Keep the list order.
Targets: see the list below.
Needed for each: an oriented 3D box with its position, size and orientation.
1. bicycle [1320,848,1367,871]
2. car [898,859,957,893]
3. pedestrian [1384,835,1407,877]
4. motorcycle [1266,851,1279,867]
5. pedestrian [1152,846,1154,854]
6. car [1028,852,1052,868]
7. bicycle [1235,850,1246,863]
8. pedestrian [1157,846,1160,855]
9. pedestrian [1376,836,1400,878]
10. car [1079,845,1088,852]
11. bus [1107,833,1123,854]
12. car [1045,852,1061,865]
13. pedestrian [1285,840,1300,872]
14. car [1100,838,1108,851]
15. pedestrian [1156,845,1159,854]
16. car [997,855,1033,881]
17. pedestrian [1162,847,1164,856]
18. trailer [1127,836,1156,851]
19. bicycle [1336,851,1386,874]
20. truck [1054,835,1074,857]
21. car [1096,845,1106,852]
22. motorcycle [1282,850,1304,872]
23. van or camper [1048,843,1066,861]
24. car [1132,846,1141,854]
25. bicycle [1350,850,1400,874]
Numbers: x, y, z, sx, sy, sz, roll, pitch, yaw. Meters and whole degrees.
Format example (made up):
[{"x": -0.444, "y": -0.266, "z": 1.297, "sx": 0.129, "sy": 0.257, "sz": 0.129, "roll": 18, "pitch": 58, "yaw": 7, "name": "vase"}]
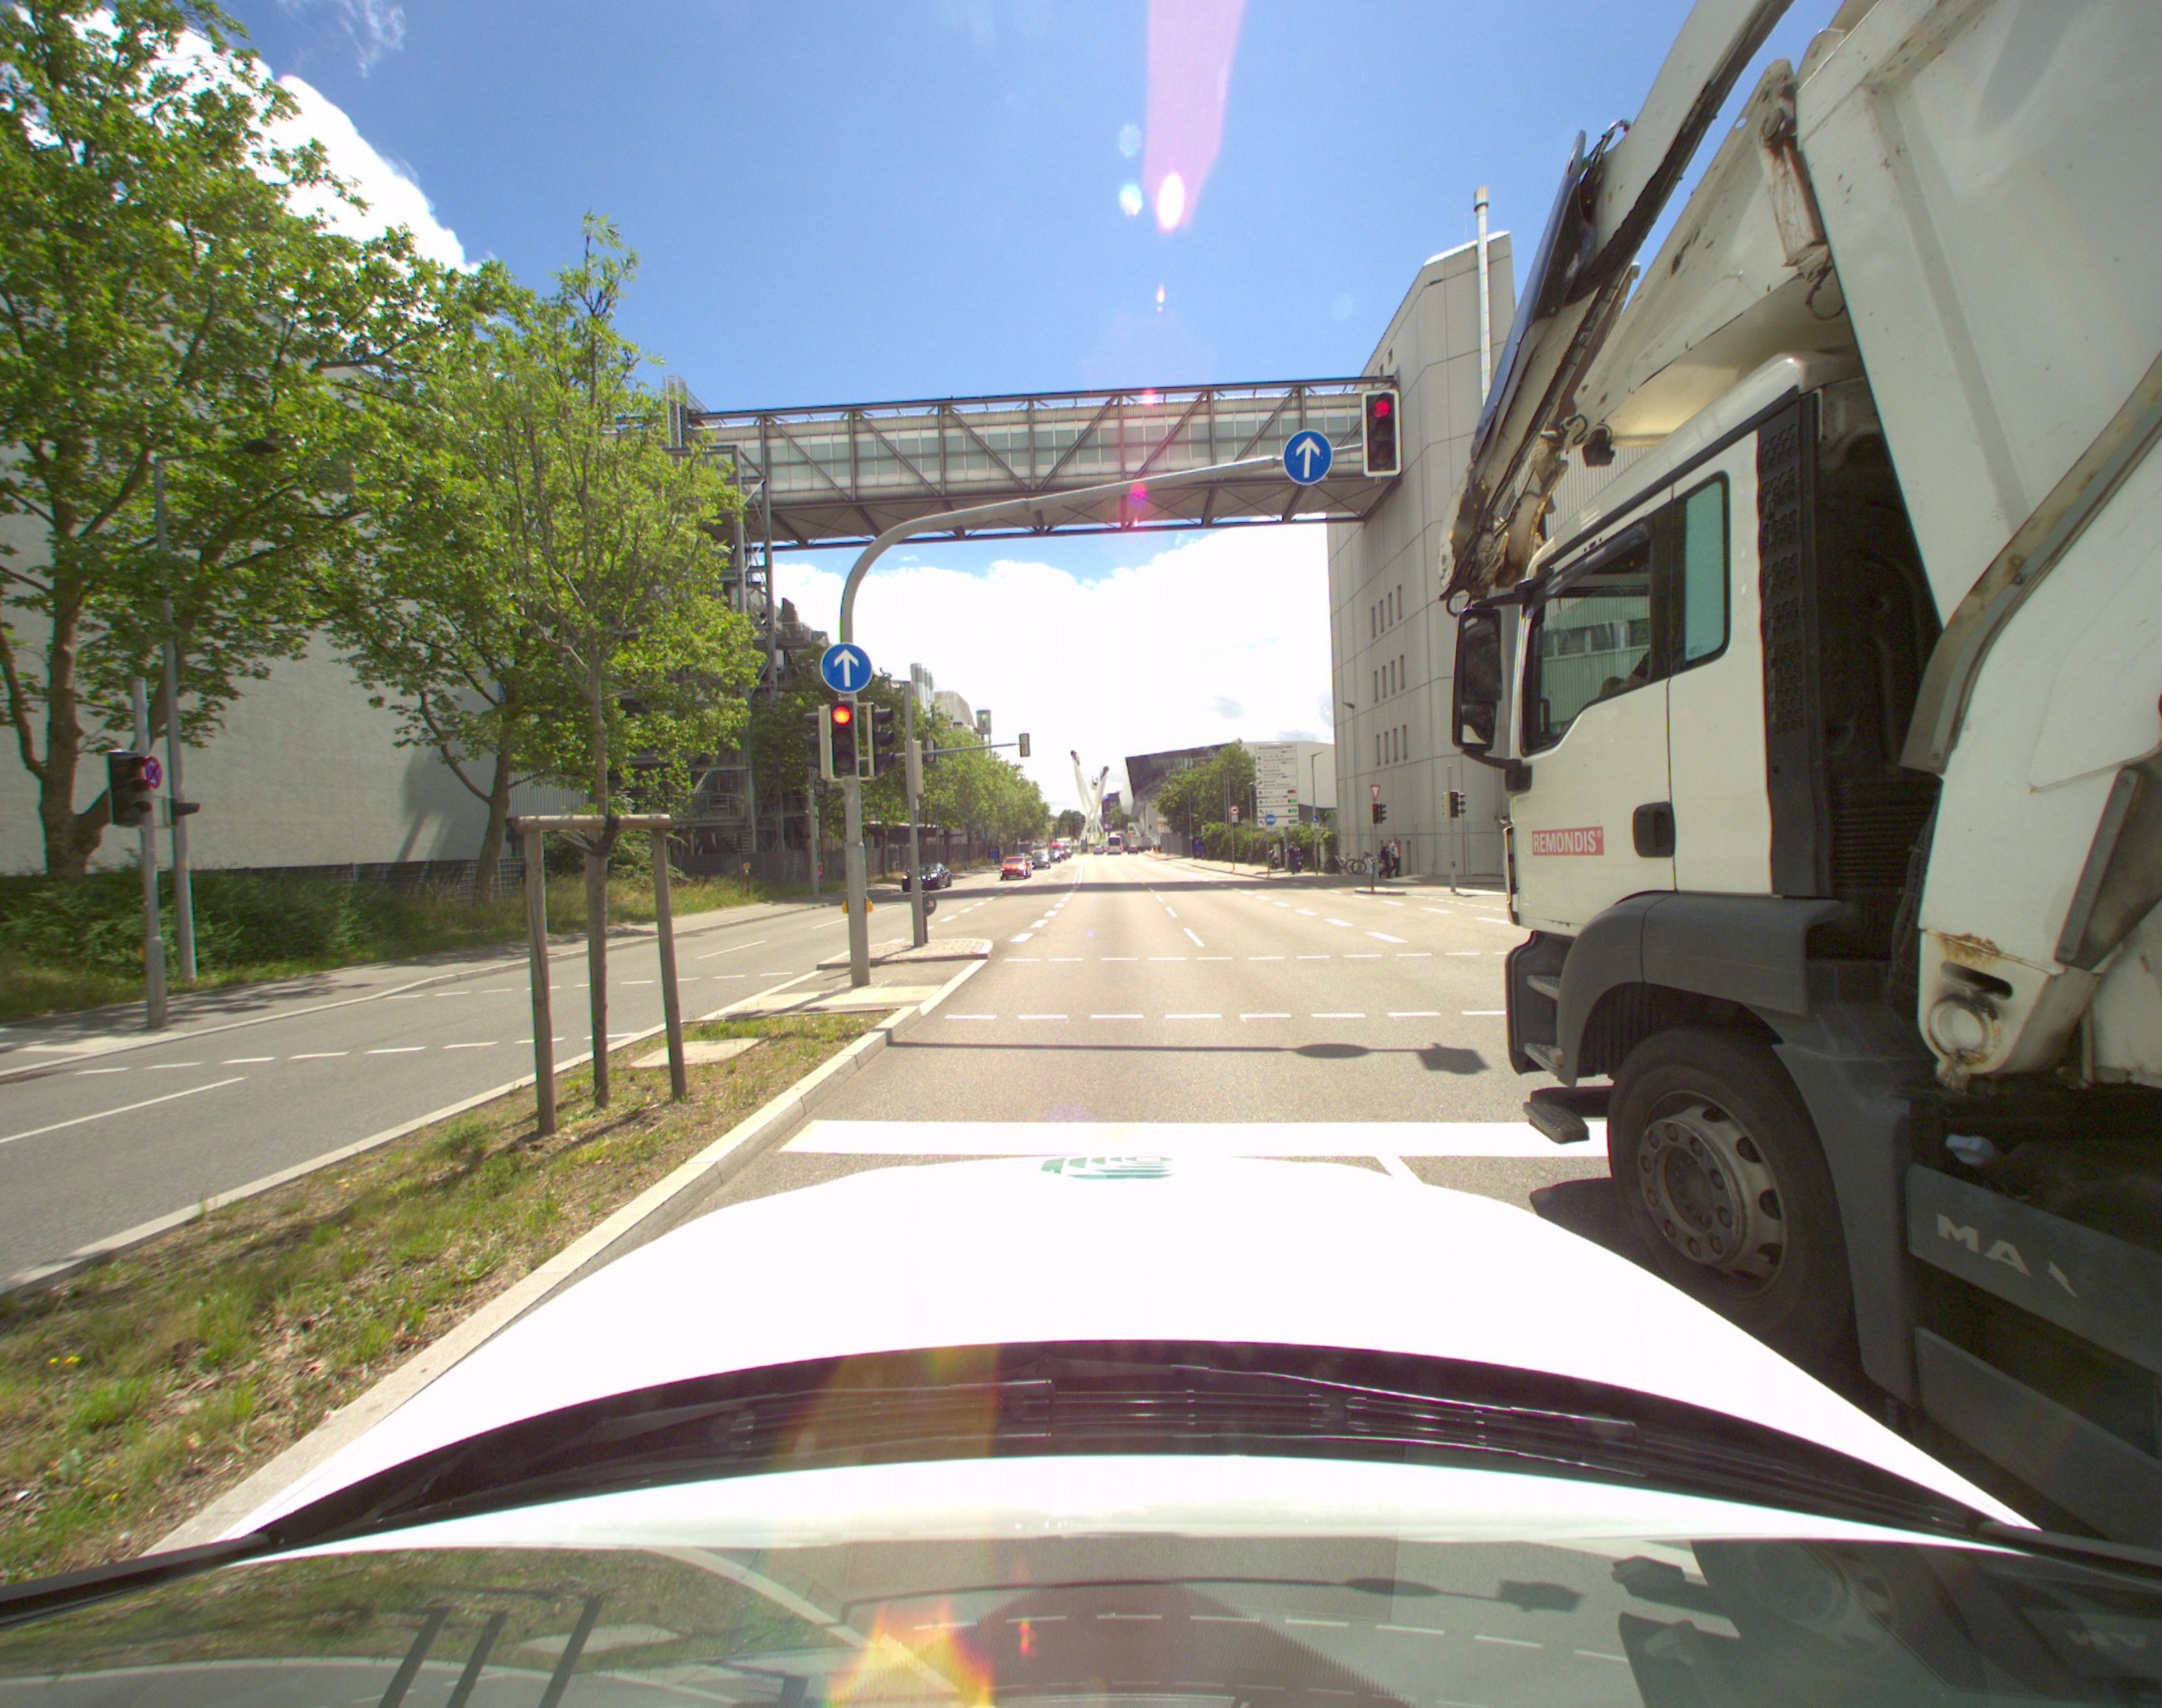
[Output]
[{"x": 13.091, "y": 0.278, "z": 40.716, "sx": 2.196, "sy": 1.086, "sz": 0.480, "roll": -1, "pitch": -1, "yaw": 37, "name": "bicycle"}, {"x": -8.075, "y": 1.125, "z": 43.292, "sx": 1.910, "sy": 1.488, "sz": 4.775, "roll": -4, "pitch": 0, "yaw": 3, "name": "car"}, {"x": 14.019, "y": 0.088, "z": 36.289, "sx": 0.703, "sy": 1.793, "sz": 0.698, "roll": -4, "pitch": 0, "yaw": 36, "name": "pedestrian"}, {"x": 12.181, "y": 0.337, "z": 51.883, "sx": 0.455, "sy": 1.022, "sz": 1.914, "roll": 0, "pitch": -1, "yaw": 4, "name": "motorcycle"}, {"x": 12.122, "y": -0.686, "z": 137.070, "sx": 0.384, "sy": 1.421, "sz": 0.424, "roll": 0, "pitch": -1, "yaw": 2, "name": "pedestrian"}, {"x": -3.809, "y": 0.546, "z": 76.341, "sx": 1.762, "sy": 1.420, "sz": 3.704, "roll": -4, "pitch": 0, "yaw": 3, "name": "car"}, {"x": 12.733, "y": 0.175, "z": 65.141, "sx": 0.417, "sy": 1.022, "sz": 1.911, "roll": 0, "pitch": -1, "yaw": -2, "name": "bicycle"}, {"x": 12.728, "y": -0.574, "z": 134.062, "sx": 0.384, "sy": 1.421, "sz": 0.424, "roll": 0, "pitch": -1, "yaw": 2, "name": "pedestrian"}, {"x": 13.492, "y": 0.135, "z": 35.790, "sx": 0.703, "sy": 1.793, "sz": 0.647, "roll": -4, "pitch": 0, "yaw": 35, "name": "pedestrian"}, {"x": 0.498, "y": -1.088, "z": 155.953, "sx": 1.551, "sy": 1.273, "sz": 3.704, "roll": -4, "pitch": 0, "yaw": 3, "name": "car"}, {"x": 6.286, "y": -1.915, "z": 150.358, "sx": 2.776, "sy": 3.686, "sz": 6.947, "roll": 0, "pitch": -1, "yaw": 3, "name": "bus"}, {"x": -3.415, "y": 0.567, "z": 99.573, "sx": 1.551, "sy": 1.448, "sz": 3.775, "roll": -4, "pitch": 0, "yaw": 3, "name": "car"}, {"x": 11.092, "y": 0.115, "z": 42.726, "sx": 0.532, "sy": 1.640, "sz": 0.657, "roll": 0, "pitch": -1, "yaw": -4, "name": "pedestrian"}, {"x": 4.832, "y": -2.004, "z": 171.264, "sx": 1.837, "sy": 2.624, "sz": 4.001, "roll": 0, "pitch": -1, "yaw": 1, "name": "car"}, {"x": 12.826, "y": -0.721, "z": 136.286, "sx": 0.384, "sy": 1.421, "sz": 0.424, "roll": 0, "pitch": -1, "yaw": 2, "name": "pedestrian"}, {"x": -4.193, "y": 0.874, "z": 52.000, "sx": 1.762, "sy": 1.420, "sz": 3.704, "roll": -4, "pitch": 0, "yaw": 3, "name": "car"}, {"x": 13.515, "y": -0.422, "z": 134.218, "sx": 0.384, "sy": 1.421, "sz": 0.424, "roll": 0, "pitch": -1, "yaw": 2, "name": "pedestrian"}, {"x": 12.862, "y": -2.215, "z": 172.097, "sx": 3.291, "sy": 2.995, "sz": 10.429, "roll": -1, "pitch": -1, "yaw": 21, "name": "trailer"}, {"x": 13.524, "y": 0.401, "z": 39.372, "sx": 2.196, "sy": 1.086, "sz": 0.480, "roll": -1, "pitch": -1, "yaw": 37, "name": "bicycle"}, {"x": -2.565, "y": -1.173, "z": 127.188, "sx": 2.581, "sy": 3.324, "sz": 7.083, "roll": 0, "pitch": -1, "yaw": 3, "name": "truck"}, {"x": 3.698, "y": -0.998, "z": 148.703, "sx": 1.551, "sy": 1.273, "sz": 3.704, "roll": -4, "pitch": 0, "yaw": 3, "name": "car"}, {"x": 11.657, "y": 0.397, "z": 44.906, "sx": 0.418, "sy": 1.166, "sz": 1.951, "roll": 0, "pitch": -1, "yaw": -9, "name": "motorcycle"}, {"x": -3.337, "y": -0.280, "z": 114.276, "sx": 2.038, "sy": 2.466, "sz": 5.598, "roll": -1, "pitch": 0, "yaw": 3, "name": "van or camper"}, {"x": 9.904, "y": -0.763, "z": 146.172, "sx": 1.551, "sy": 1.273, "sz": 3.704, "roll": -4, "pitch": 0, "yaw": 3, "name": "car"}, {"x": 13.842, "y": 0.391, "z": 38.348, "sx": 2.166, "sy": 1.086, "sz": 0.480, "roll": -1, "pitch": -1, "yaw": 37, "name": "bicycle"}]
